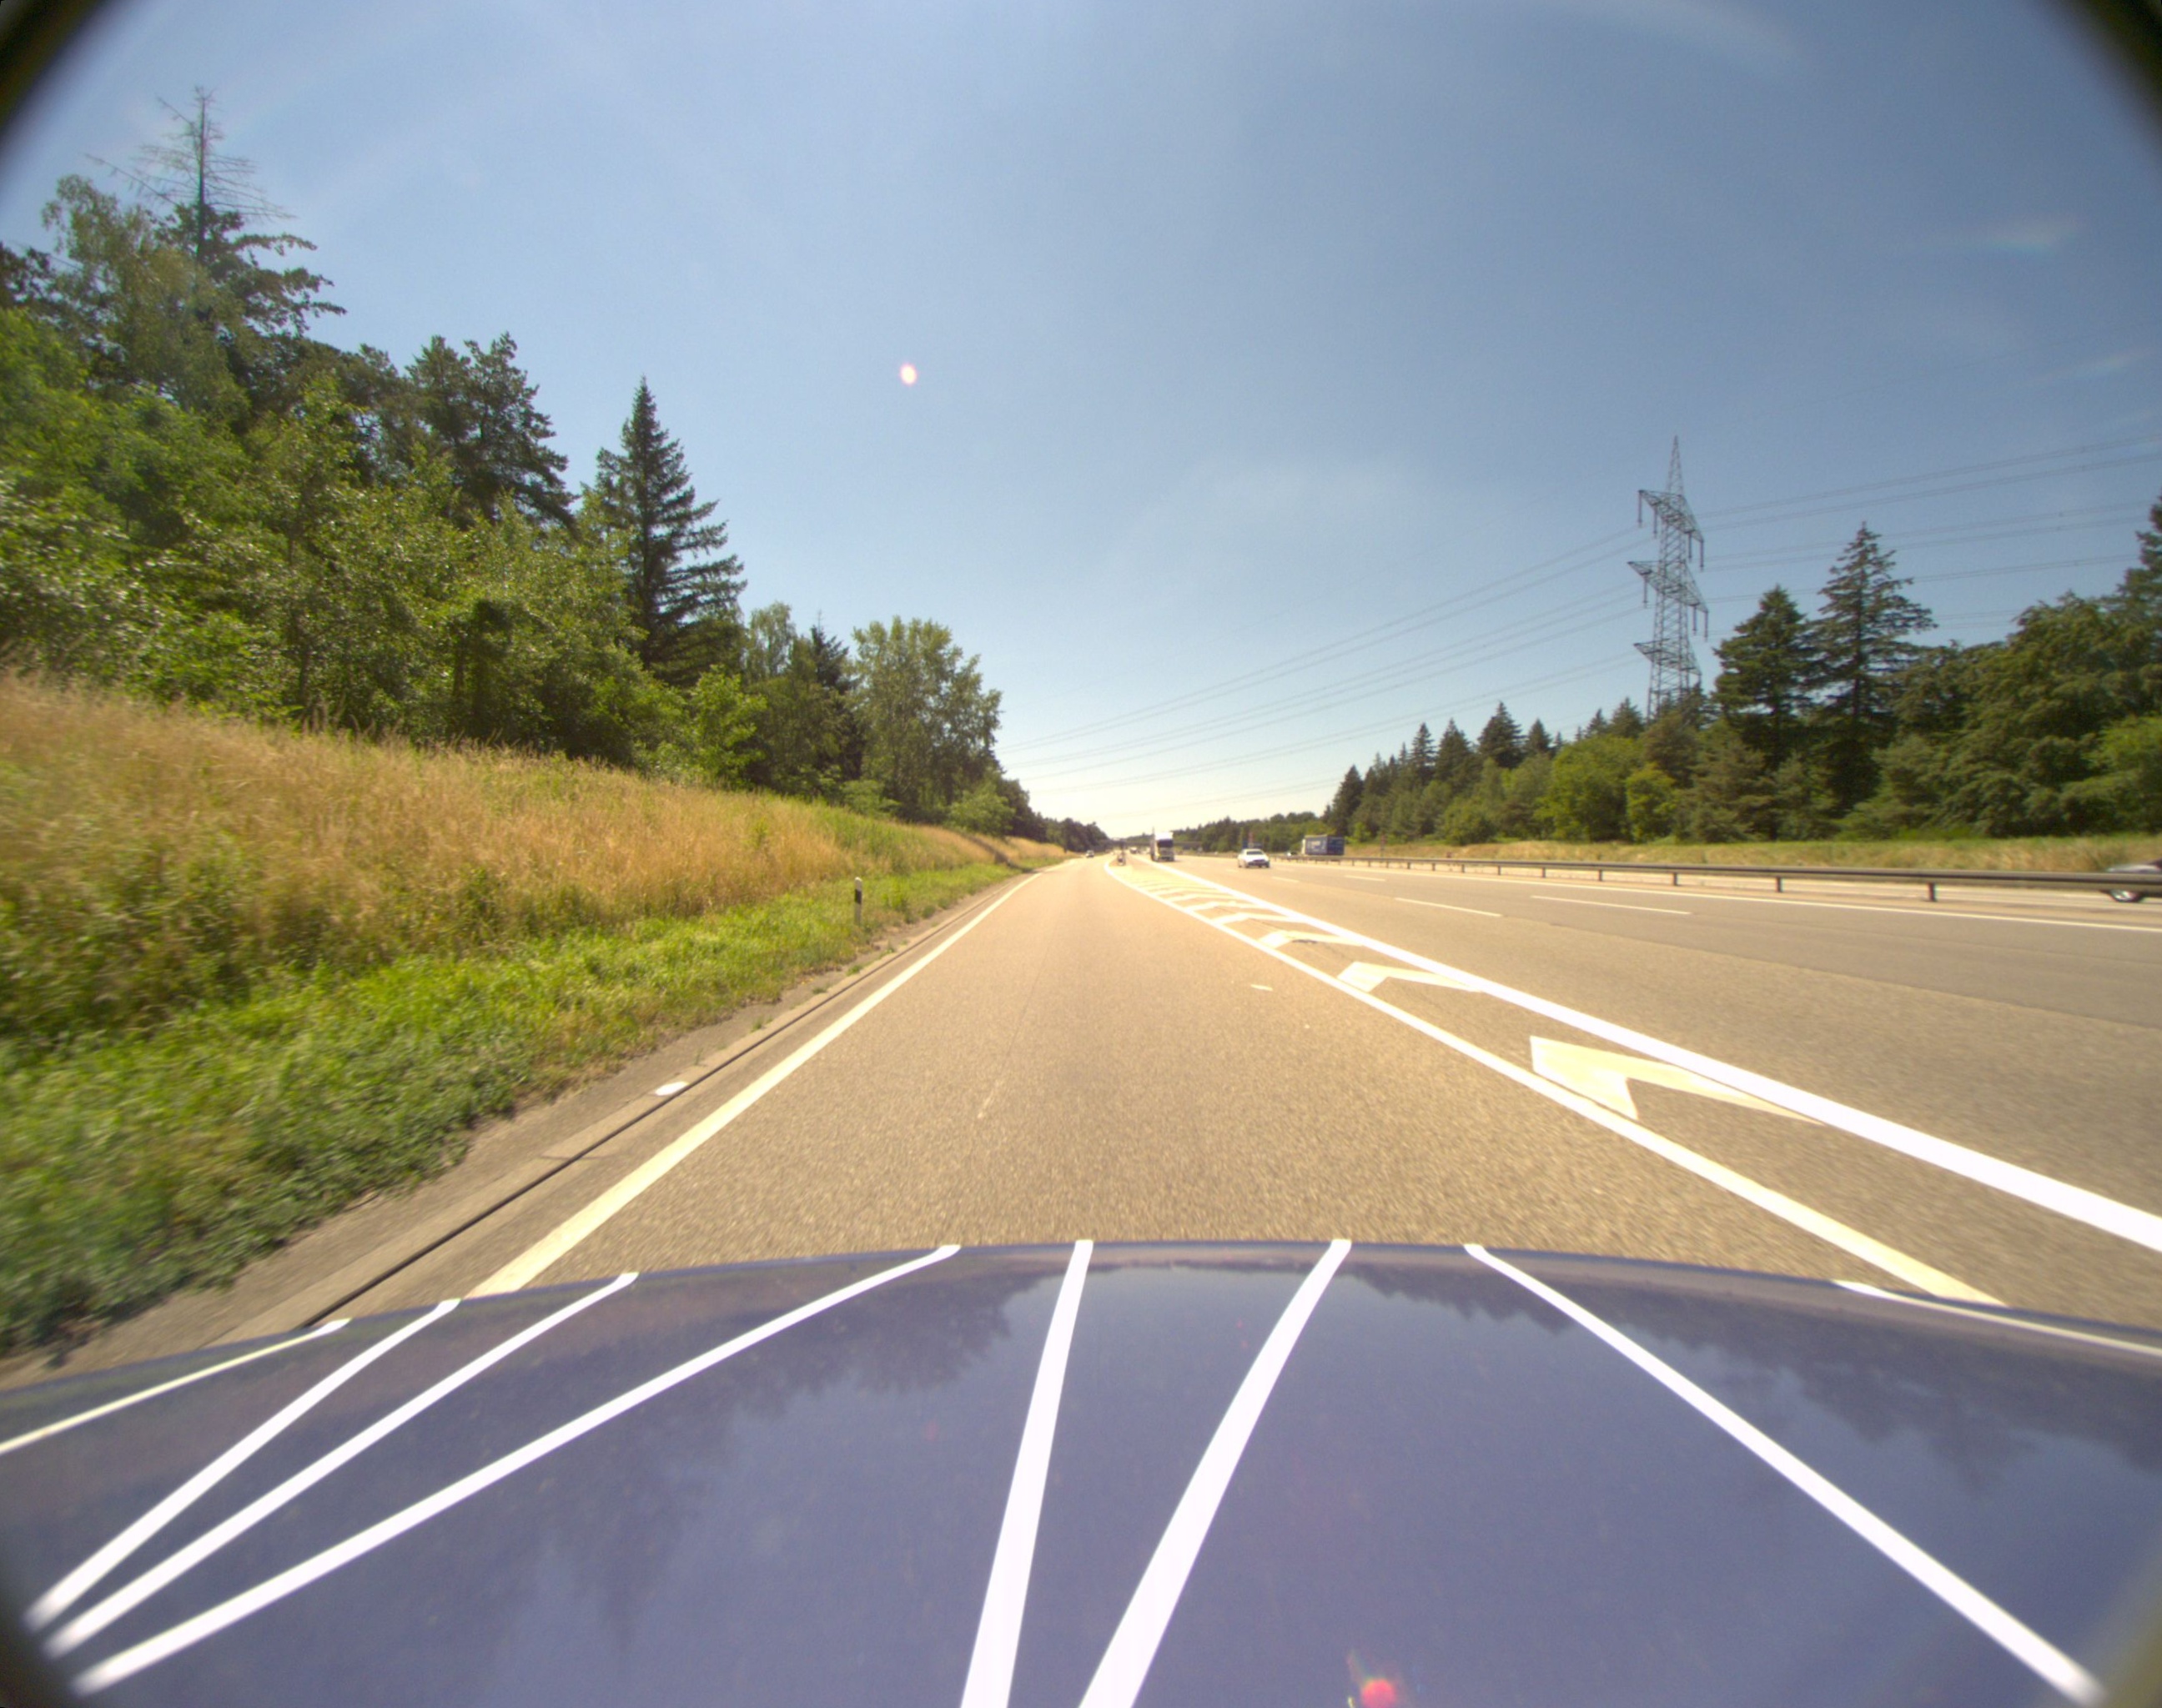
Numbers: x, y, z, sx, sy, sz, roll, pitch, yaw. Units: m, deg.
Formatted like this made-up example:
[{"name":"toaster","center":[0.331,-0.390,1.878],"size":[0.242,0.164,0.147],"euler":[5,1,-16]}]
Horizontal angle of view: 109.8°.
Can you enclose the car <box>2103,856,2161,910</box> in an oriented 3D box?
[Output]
[{"name":"car","center":[27.999,0.737,18.477],"size":[1.566,1.348,3.567],"euler":[-1,1,4]}]

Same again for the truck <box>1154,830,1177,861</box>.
[{"name":"truck","center":[11.478,-1.123,103.235],"size":[2.979,4.118,5.351],"euler":[-1,0,5]}]

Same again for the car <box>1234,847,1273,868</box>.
[{"name":"car","center":[13.713,0.261,60.597],"size":[1.968,1.495,5.404],"euler":[-1,1,2]}]

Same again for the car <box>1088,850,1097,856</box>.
[{"name":"car","center":[3.057,-0.323,203.972],"size":[1.898,1.417,4.263],"euler":[-2,0,5]}]

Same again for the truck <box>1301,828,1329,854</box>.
[{"name":"truck","center":[38.792,-2.141,126.186],"size":[3.210,4.148,5.723],"euler":[1,1,3]}]

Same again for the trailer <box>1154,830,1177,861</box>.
[{"name":"trailer","center":[12.061,-1.140,109.299],"size":[2.981,4.118,11.700],"euler":[-1,0,5]}]

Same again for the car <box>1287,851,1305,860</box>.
[{"name":"car","center":[33.877,0.217,119.740],"size":[1.765,1.395,4.434],"euler":[0,0,2]}]

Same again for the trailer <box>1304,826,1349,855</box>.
[{"name":"trailer","center":[38.416,-2.066,119.609],"size":[3.210,4.148,13.985],"euler":[1,1,3]}]
